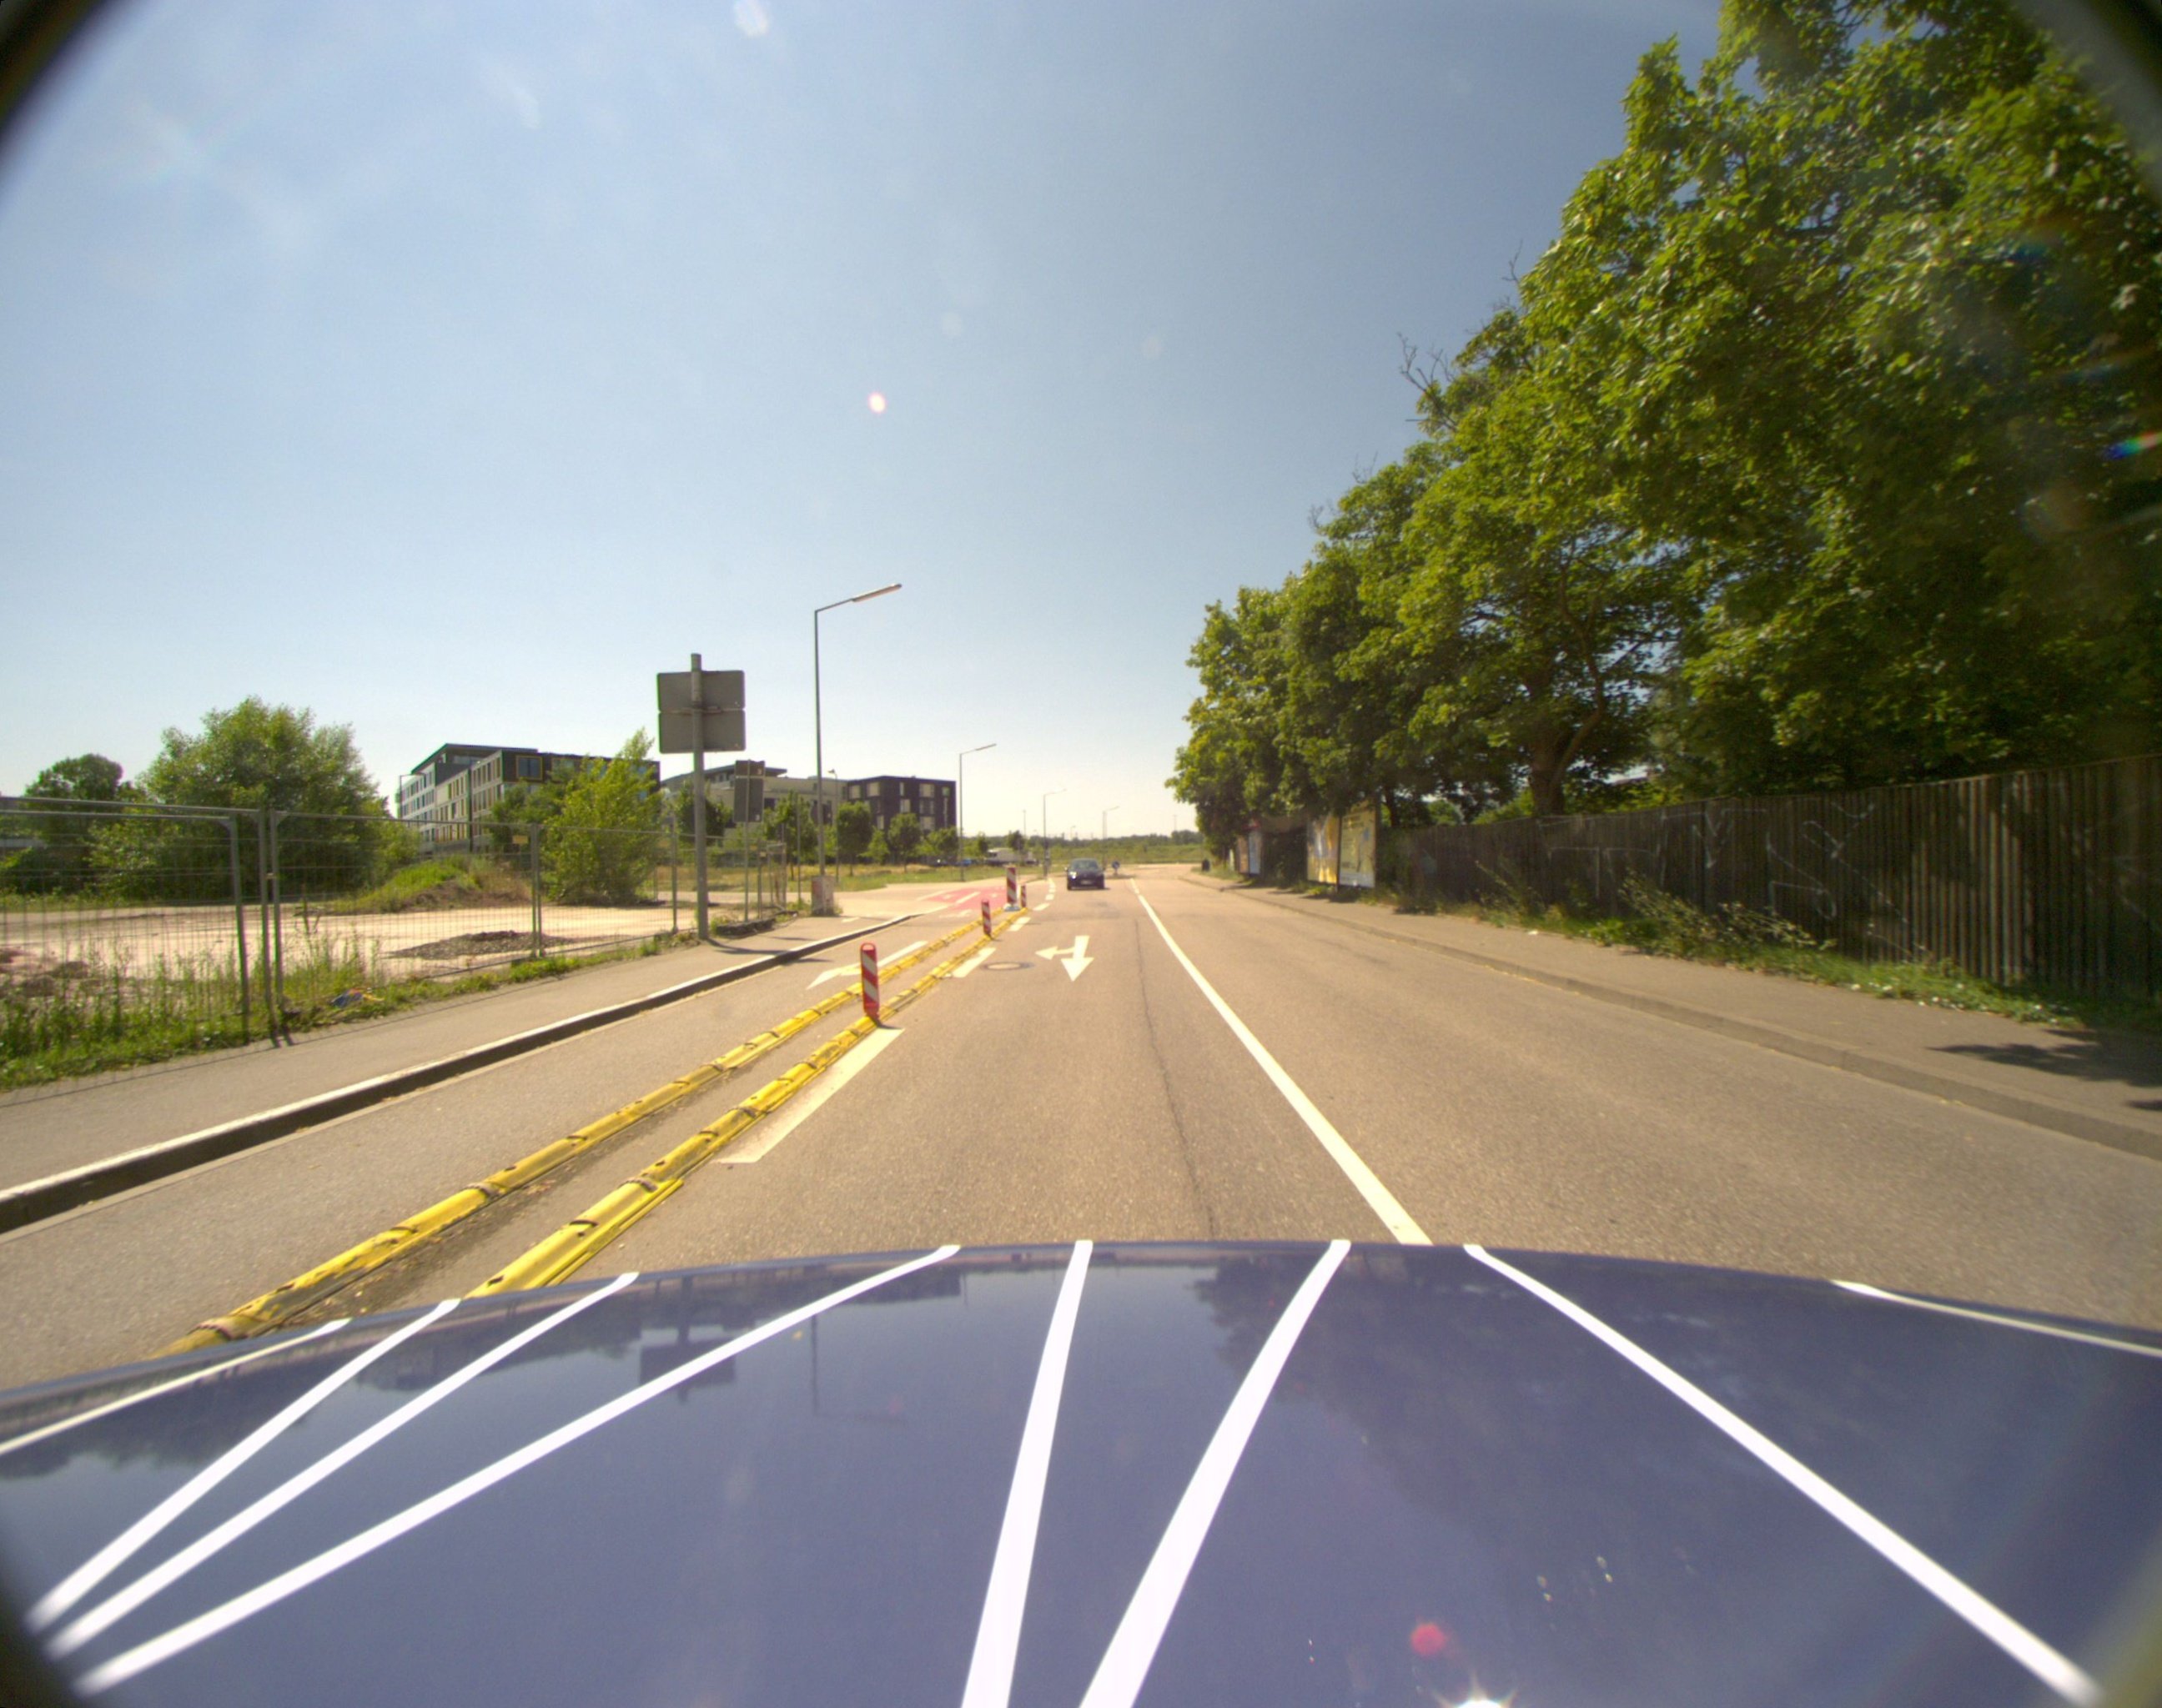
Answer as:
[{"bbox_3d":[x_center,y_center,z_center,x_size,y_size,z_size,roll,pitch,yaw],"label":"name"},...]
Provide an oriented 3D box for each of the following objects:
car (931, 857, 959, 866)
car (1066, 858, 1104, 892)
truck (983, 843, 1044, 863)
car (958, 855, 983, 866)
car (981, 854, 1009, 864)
[{"bbox_3d":[-21.092,1.174,117.555,4.114,1.436,1.966,-1,0,38],"label":"car"},{"bbox_3d":[0.248,0.956,35.670,1.654,1.458,4.160,-1,0,2],"label":"car"},{"bbox_3d":[-12.472,-0.240,141.989,12.164,3.442,3.009,-1,2,-45],"label":"truck"},{"bbox_3d":[-17.622,1.046,121.152,4.059,1.642,1.959,-1,0,43],"label":"car"},{"bbox_3d":[-14.030,0.797,124.152,4.495,1.553,2.036,-1,0,42],"label":"car"}]
